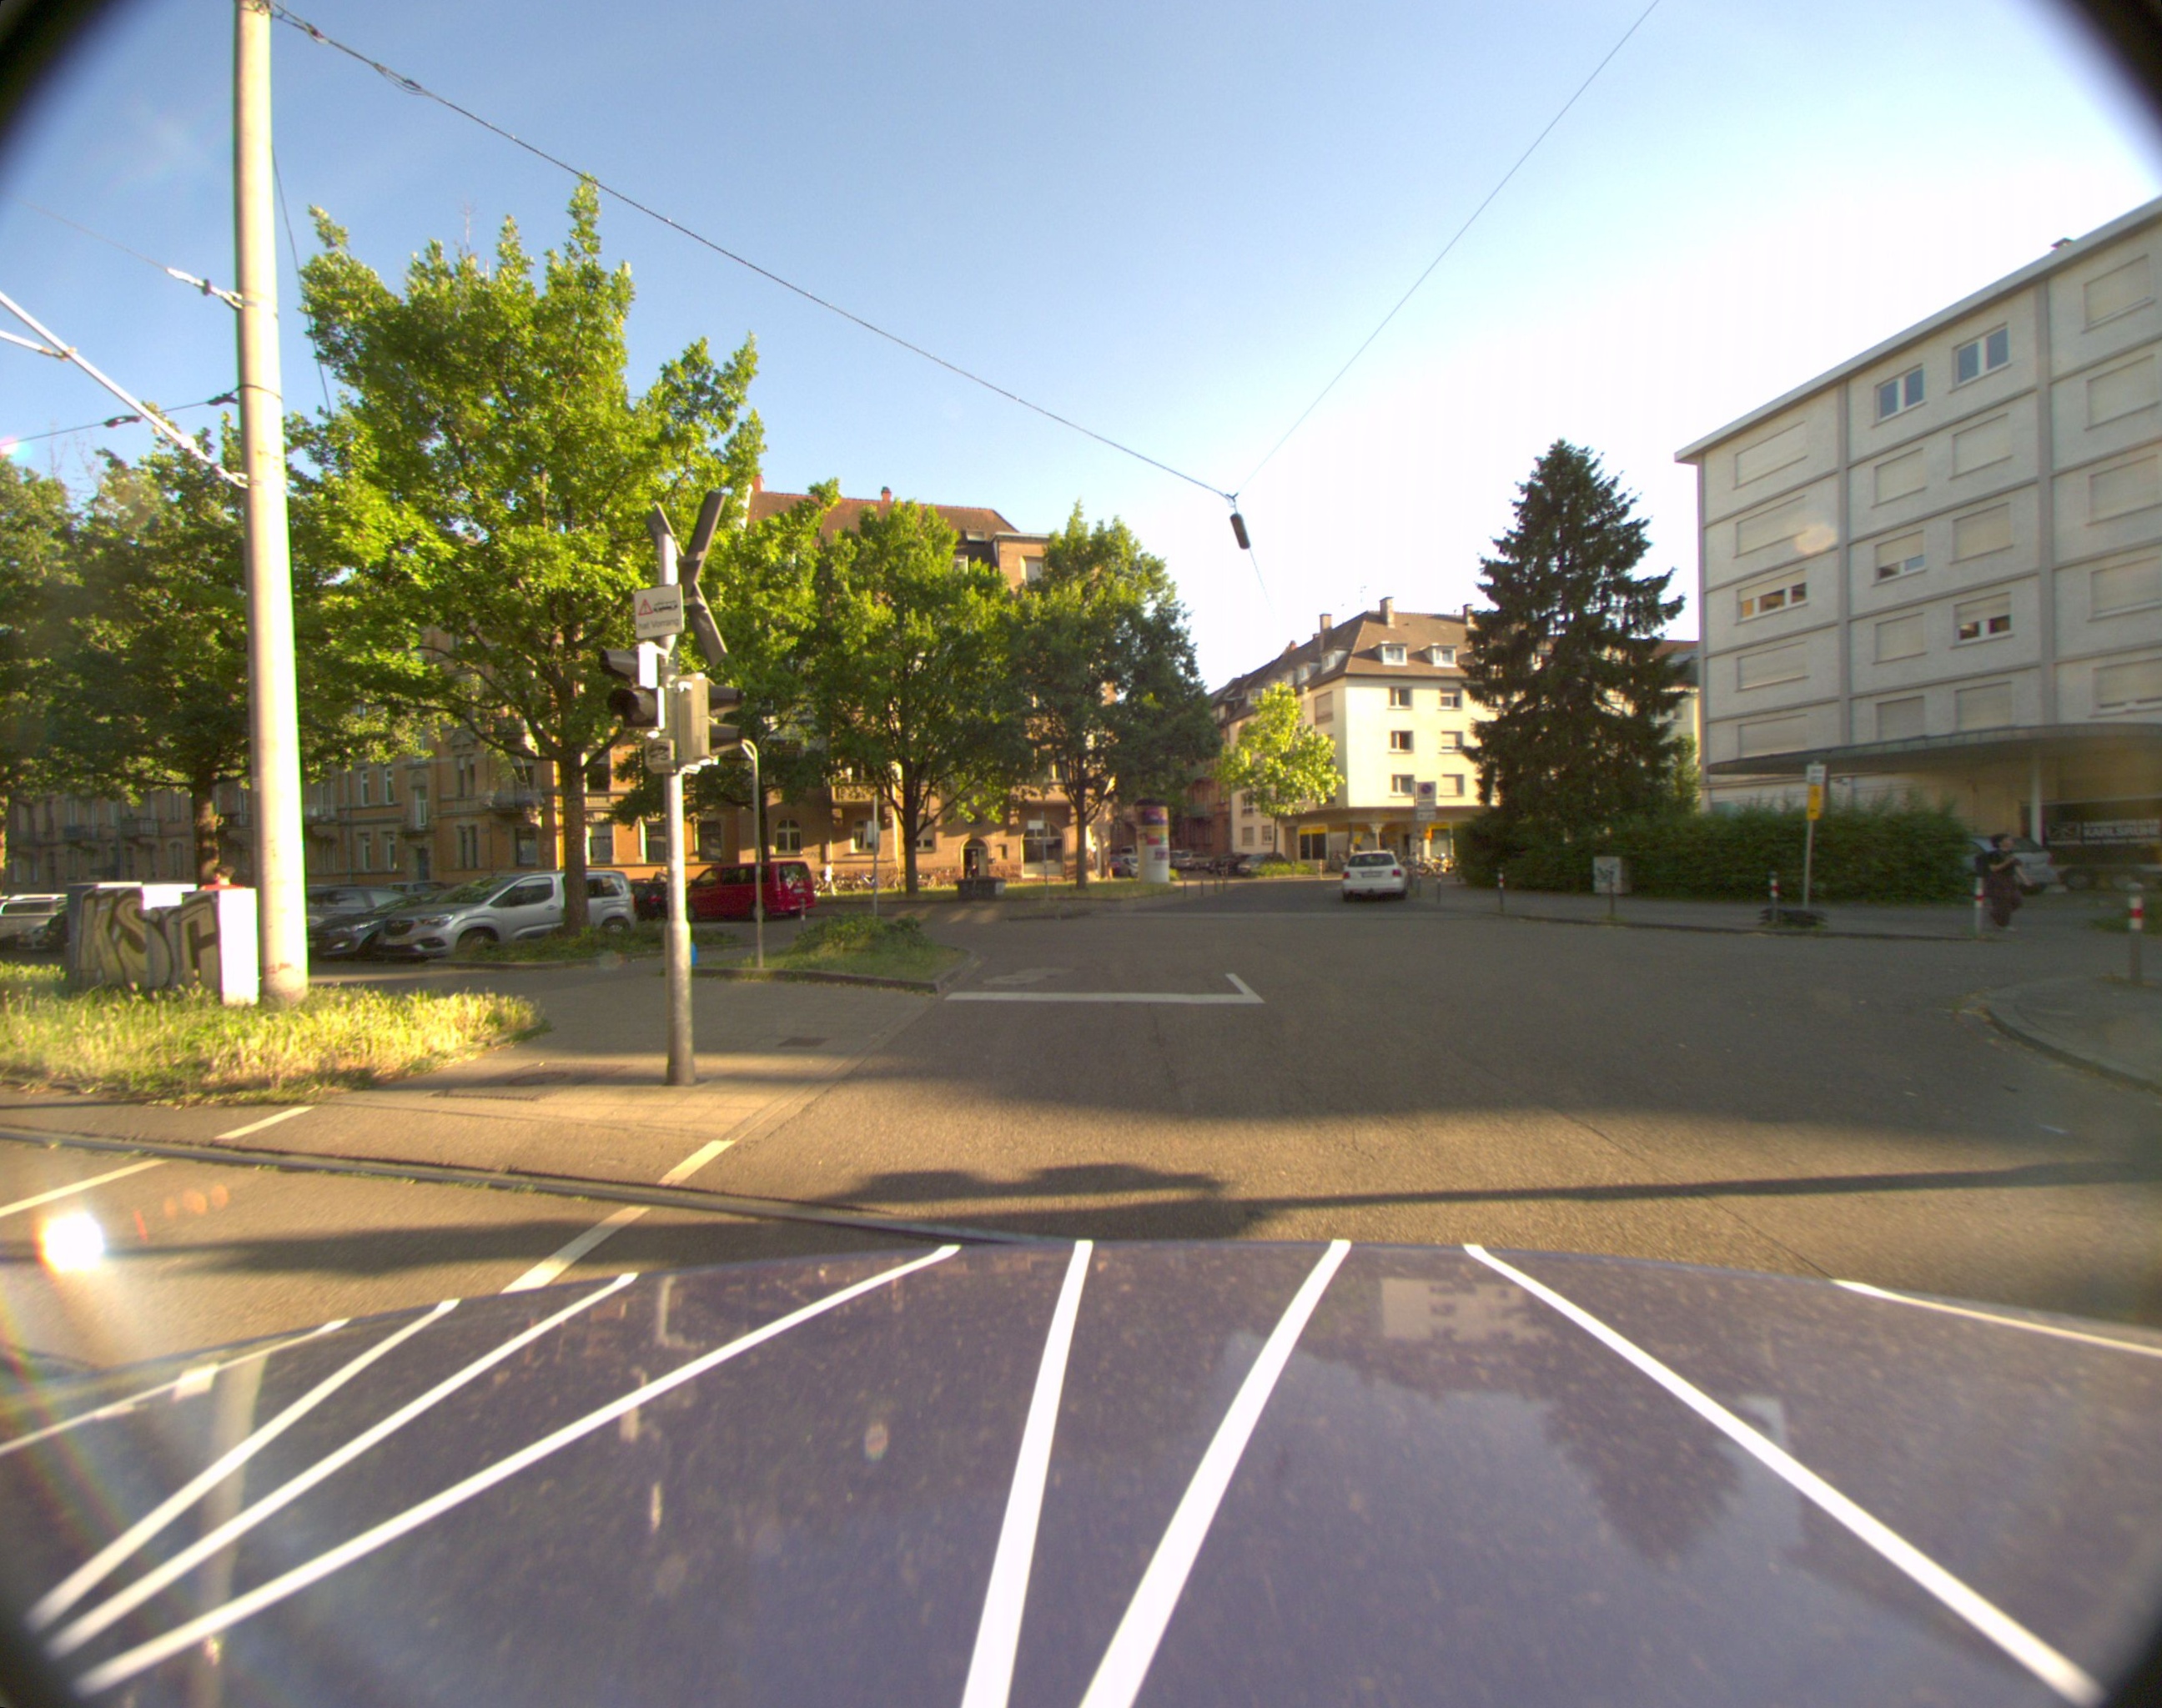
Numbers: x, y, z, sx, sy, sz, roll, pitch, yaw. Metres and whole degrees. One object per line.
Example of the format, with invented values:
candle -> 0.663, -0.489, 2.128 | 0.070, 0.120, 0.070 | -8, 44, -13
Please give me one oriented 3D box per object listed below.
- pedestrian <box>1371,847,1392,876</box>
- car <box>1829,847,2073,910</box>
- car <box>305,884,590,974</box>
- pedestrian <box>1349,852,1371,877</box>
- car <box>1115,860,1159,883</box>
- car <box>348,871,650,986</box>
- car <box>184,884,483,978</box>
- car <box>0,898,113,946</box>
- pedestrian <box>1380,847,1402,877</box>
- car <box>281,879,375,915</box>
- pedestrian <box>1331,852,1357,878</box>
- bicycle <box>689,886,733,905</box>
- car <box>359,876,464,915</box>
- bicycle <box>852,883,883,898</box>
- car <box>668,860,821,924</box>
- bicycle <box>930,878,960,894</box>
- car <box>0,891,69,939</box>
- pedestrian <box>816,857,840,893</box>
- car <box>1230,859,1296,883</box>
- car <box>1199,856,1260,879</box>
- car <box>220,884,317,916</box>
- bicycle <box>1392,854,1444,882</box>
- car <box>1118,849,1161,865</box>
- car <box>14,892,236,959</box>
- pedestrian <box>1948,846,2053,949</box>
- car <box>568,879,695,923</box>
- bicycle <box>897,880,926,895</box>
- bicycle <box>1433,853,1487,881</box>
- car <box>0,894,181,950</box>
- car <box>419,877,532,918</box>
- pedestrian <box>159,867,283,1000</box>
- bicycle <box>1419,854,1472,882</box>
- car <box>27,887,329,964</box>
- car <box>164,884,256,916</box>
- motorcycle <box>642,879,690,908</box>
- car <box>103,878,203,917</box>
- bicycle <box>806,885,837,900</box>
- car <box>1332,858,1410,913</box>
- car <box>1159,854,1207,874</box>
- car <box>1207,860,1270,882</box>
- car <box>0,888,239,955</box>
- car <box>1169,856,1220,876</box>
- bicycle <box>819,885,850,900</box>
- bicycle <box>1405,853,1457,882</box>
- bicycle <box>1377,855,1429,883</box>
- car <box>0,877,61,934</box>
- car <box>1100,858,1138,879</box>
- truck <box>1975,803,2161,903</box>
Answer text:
pedestrian -> 19.520, 0.477, 49.361 | 0.891, 1.864, 0.851 | -2, 0, -12
car -> 23.876, 0.640, 21.109 | 2.000, 1.523, 3.997 | -2, 0, -9
car -> -14.059, 1.565, 17.246 | 1.945, 1.563, 4.561 | -1, 0, 24
pedestrian -> 18.230, 0.697, 49.665 | 0.964, 1.560, 0.890 | -2, 0, -11
car -> 3.668, 1.134, 50.587 | 1.874, 1.391, 3.996 | -2, 0, -11
car -> -11.727, 1.360, 15.753 | 1.945, 1.903, 4.561 | -1, 0, 24
car -> -16.737, 1.615, 17.378 | 1.946, 1.681, 4.455 | -1, 0, 16
car -> -35.324, 2.260, 24.975 | 1.680, 1.414, 4.007 | -2, -1, 22
pedestrian -> 19.815, 0.490, 48.557 | 0.891, 1.864, 0.851 | -2, 0, -12
car -> -34.843, 1.987, 35.156 | 3.700, 1.467, 1.691 | -2, 2, 22
pedestrian -> 17.005, 0.718, 49.111 | 1.215, 1.656, 0.963 | -2, 0, -12
bicycle -> -18.754, 2.113, 38.547 | 1.900, 0.843, 0.525 | -2, 0, -14
car -> -29.043, 1.809, 32.972 | 3.873, 1.467, 1.691 | -2, 2, 20
bicycle -> -11.274, 1.902, 40.131 | 1.511, 0.728, 0.368 | -2, 0, -14
car -> -11.373, 1.291, 25.709 | 4.762, 1.923, 1.784 | -2, 2, 21
bicycle -> -7.369, 1.740, 41.201 | 1.511, 0.728, 0.368 | -3, 1, -14
car -> -37.601, 2.125, 25.491 | 1.762, 1.570, 4.006 | -2, -1, 20
pedestrian -> -12.386, 1.036, 37.257 | 0.912, 1.708, 0.675 | -3, 1, -9
car -> 11.940, 1.104, 49.871 | 4.006, 1.391, 1.869 | -1, 0, -29
car -> 10.849, 0.981, 55.384 | 4.005, 1.559, 1.870 | -1, 0, -27
car -> -39.699, 2.233, 37.116 | 4.280, 1.376, 1.771 | -2, 2, 23
bicycle -> 18.381, 0.740, 41.534 | 0.881, 1.437, 3.376 | -2, 1, -10
car -> 5.823, 0.287, 75.364 | 4.008, 1.391, 1.868 | -1, 0, -41
car -> -25.919, 1.879, 20.745 | 1.715, 1.505, 3.415 | -2, -1, 24
pedestrian -> 16.117, 0.746, 13.347 | 0.869, 1.726, 0.832 | -2, 1, 21
car -> -16.486, 1.713, 27.844 | 4.260, 1.425, 1.784 | -2, 2, 24
bicycle -> -9.113, 1.806, 40.889 | 1.511, 0.728, 0.368 | -2, 0, -14
bicycle -> 21.137, 0.699, 42.477 | 0.881, 1.437, 3.376 | -2, 2, -10
car -> -30.672, 2.024, 23.046 | 1.680, 1.452, 4.007 | -2, -1, 22
car -> -24.940, 1.790, 31.298 | 4.260, 1.467, 1.784 | -2, 2, 24
pedestrian -> -13.060, 1.163, 11.553 | 1.147, 1.907, 0.907 | -2, -1, 22
bicycle -> 20.278, 0.741, 42.363 | 0.881, 1.437, 3.376 | -2, 2, -10
car -> -23.456, 1.751, 20.025 | 1.995, 1.563, 4.724 | -1, 0, 24
car -> -44.463, 2.351, 38.792 | 3.879, 1.430, 1.771 | -2, 2, 21
motorcycle -> -20.686, 1.958, 37.887 | 1.900, 1.345, 0.809 | -2, 0, -14
car -> -49.743, 2.334, 40.732 | 4.714, 1.872, 1.915 | -2, 2, 21
bicycle -> -13.505, 2.004, 39.579 | 1.511, 0.728, 0.368 | -2, 0, -14
car -> 8.969, 0.907, 23.292 | 1.919, 1.442, 4.303 | -3, -1, 24
car -> 8.672, 0.831, 64.338 | 4.008, 1.626, 1.868 | -1, 0, -41
car -> 10.795, 1.157, 52.062 | 4.006, 1.391, 1.869 | -1, 0, -29
car -> -28.300, 1.870, 22.068 | 1.995, 1.563, 4.724 | -1, 0, 24
car -> 9.182, 0.958, 61.179 | 4.008, 1.496, 1.868 | -1, 0, -41
bicycle -> -12.754, 1.979, 39.368 | 1.511, 0.728, 0.368 | -2, 0, -14
bicycle -> 19.346, 0.700, 42.120 | 0.881, 1.437, 3.376 | -2, 2, -10
bicycle -> 17.355, 0.771, 41.106 | 0.881, 1.437, 3.376 | -2, 1, -10
car -> -40.079, 1.886, 26.575 | 2.150, 2.026, 4.869 | -2, -1, 22
car -> 2.717, 1.040, 55.242 | 1.874, 1.391, 3.996 | -2, 0, -11
truck -> 28.081, -0.033, 20.346 | 2.001, 2.519, 4.967 | -2, 0, -12
